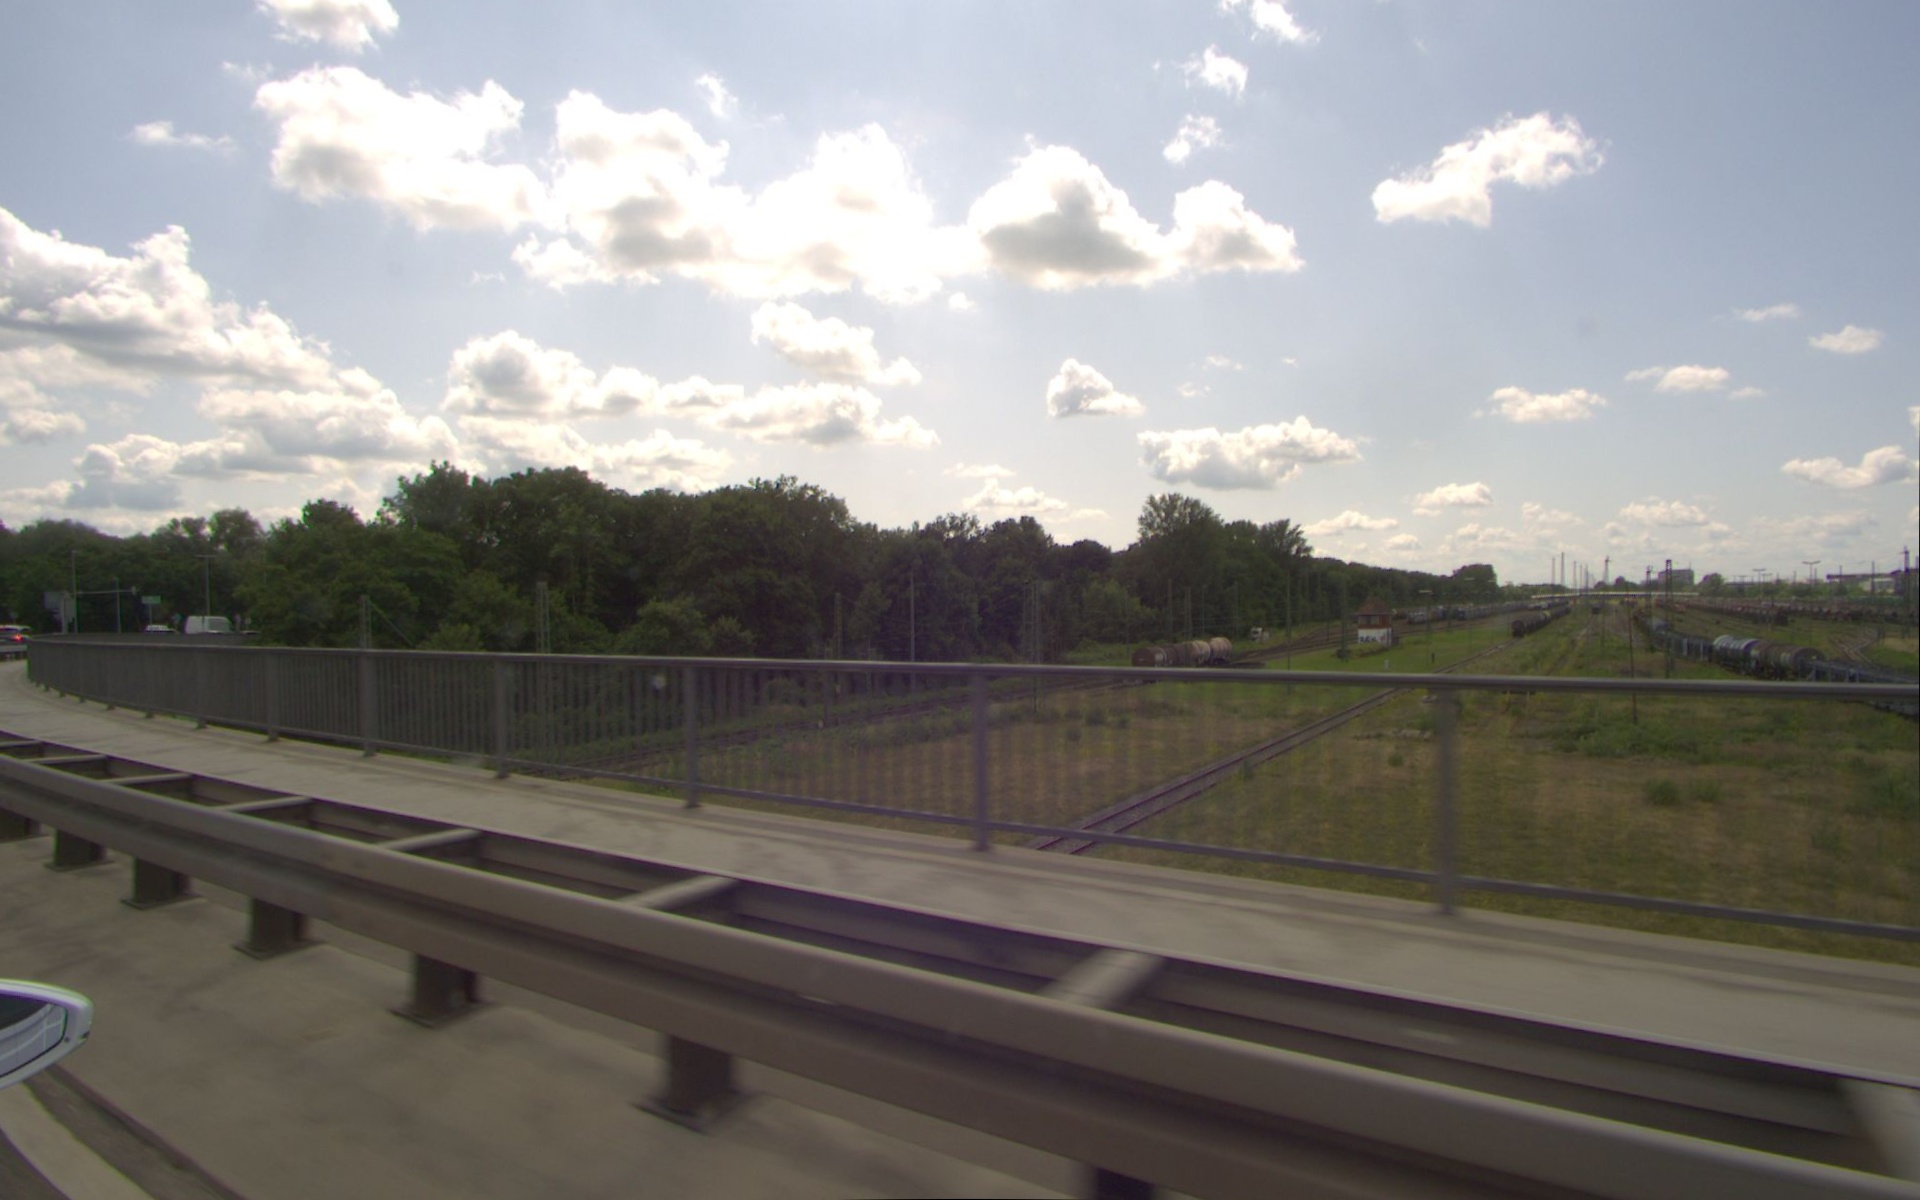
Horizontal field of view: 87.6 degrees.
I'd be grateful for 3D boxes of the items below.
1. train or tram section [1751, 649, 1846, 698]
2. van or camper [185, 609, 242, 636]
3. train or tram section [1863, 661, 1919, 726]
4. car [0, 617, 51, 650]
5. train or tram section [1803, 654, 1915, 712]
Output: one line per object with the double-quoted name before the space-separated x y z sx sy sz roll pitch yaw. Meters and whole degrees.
"train or tram section" 88.879 7.650 106.602 3.161 4.205 15.921 -3 -2 23
"van or camper" -67.863 2.055 91.106 2.239 2.370 5.236 2 -2 -14
"train or tram section" 74.718 7.281 77.089 3.164 4.205 17.627 -4 -2 27
"car" -49.188 1.723 52.157 1.801 1.672 3.838 2 -2 -28
"train or tram section" 82.239 7.484 92.097 3.163 4.205 15.911 -3 -2 26
